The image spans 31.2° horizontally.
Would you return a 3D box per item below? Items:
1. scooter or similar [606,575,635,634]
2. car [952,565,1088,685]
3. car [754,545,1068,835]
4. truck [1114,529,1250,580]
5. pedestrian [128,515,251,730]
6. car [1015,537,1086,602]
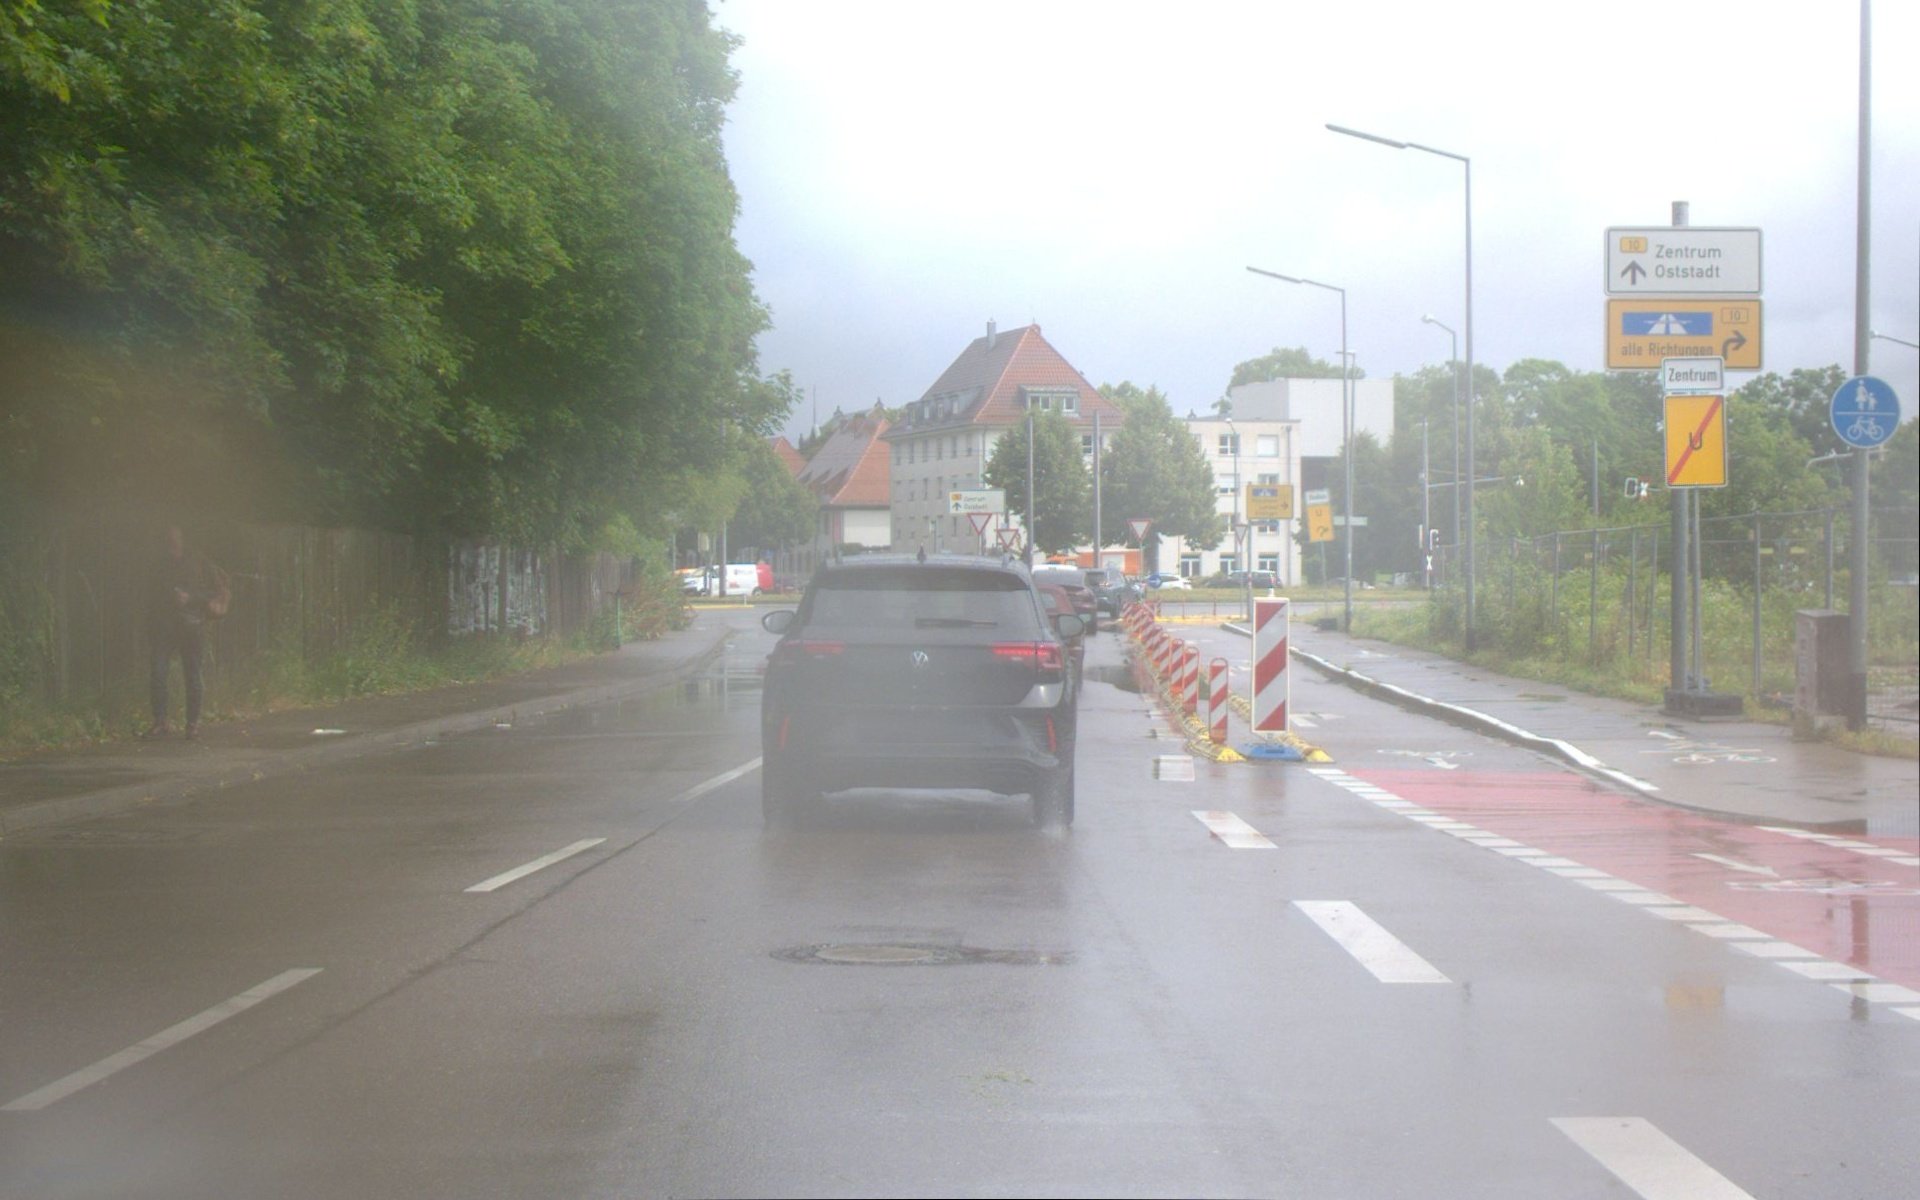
[{"bbox_3d":[-6.793,0.081,68.845,0.562,1.158,1.208,0,0,-5],"label":"scooter or similar"},{"bbox_3d":[0.774,0.299,45.685,1.735,1.509,3.604,0,1,0],"label":"car"},{"bbox_3d":[-0.290,0.481,20.720,1.708,1.568,3.683,1,0,-1],"label":"car"},{"bbox_3d":[11.662,-2.374,180.295,7.067,2.641,2.329,0,1,4],"label":"truck"},{"bbox_3d":[-6.429,0.186,28.724,0.839,1.763,0.644,-1,0,2],"label":"pedestrian"},{"bbox_3d":[2.570,-0.885,98.326,1.864,1.803,4.404,0,1,0],"label":"car"}]
